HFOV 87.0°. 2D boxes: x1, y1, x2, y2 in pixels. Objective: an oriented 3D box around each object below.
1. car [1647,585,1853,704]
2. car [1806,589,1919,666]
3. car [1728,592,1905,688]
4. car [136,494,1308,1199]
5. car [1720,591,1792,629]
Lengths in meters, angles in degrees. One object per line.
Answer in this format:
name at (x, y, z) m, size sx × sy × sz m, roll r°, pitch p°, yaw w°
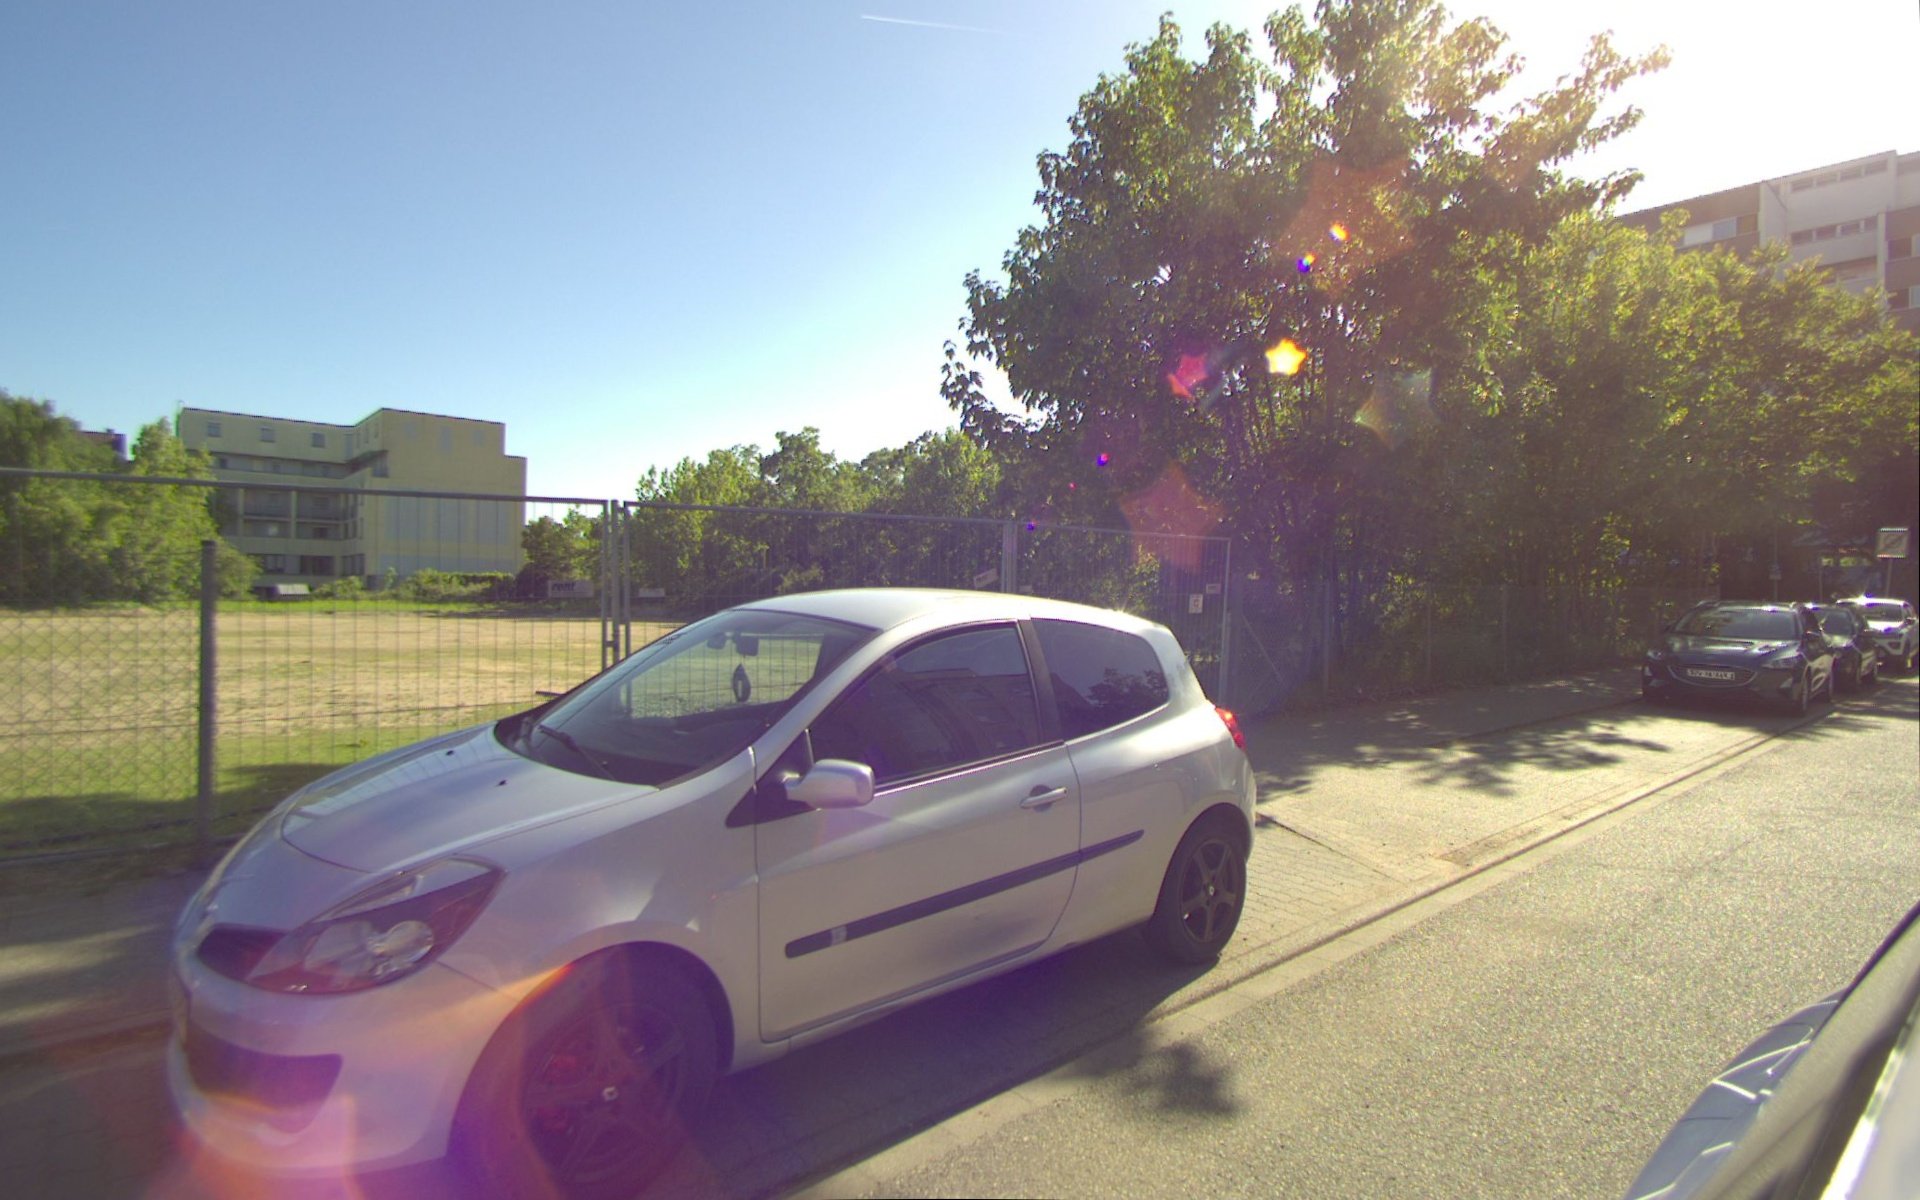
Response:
car at (11.387, 0.524, 14.472) m, size 4.365 × 1.456 × 1.678 m, roll 0°, pitch 1°, yaw -43°
car at (19.942, 0.531, 22.073) m, size 4.019 × 1.469 × 1.622 m, roll -2°, pitch 1°, yaw -40°
car at (15.120, 0.610, 17.805) m, size 3.998 × 1.490 × 1.827 m, roll -1°, pitch 1°, yaw -41°
car at (-0.493, 0.610, 3.778) m, size 3.930 × 1.532 × 1.665 m, roll 2°, pitch -1°, yaw -41°
car at (33.550, 0.389, 42.634) m, size 3.931 × 1.469 × 1.714 m, roll -2°, pitch 2°, yaw -41°
